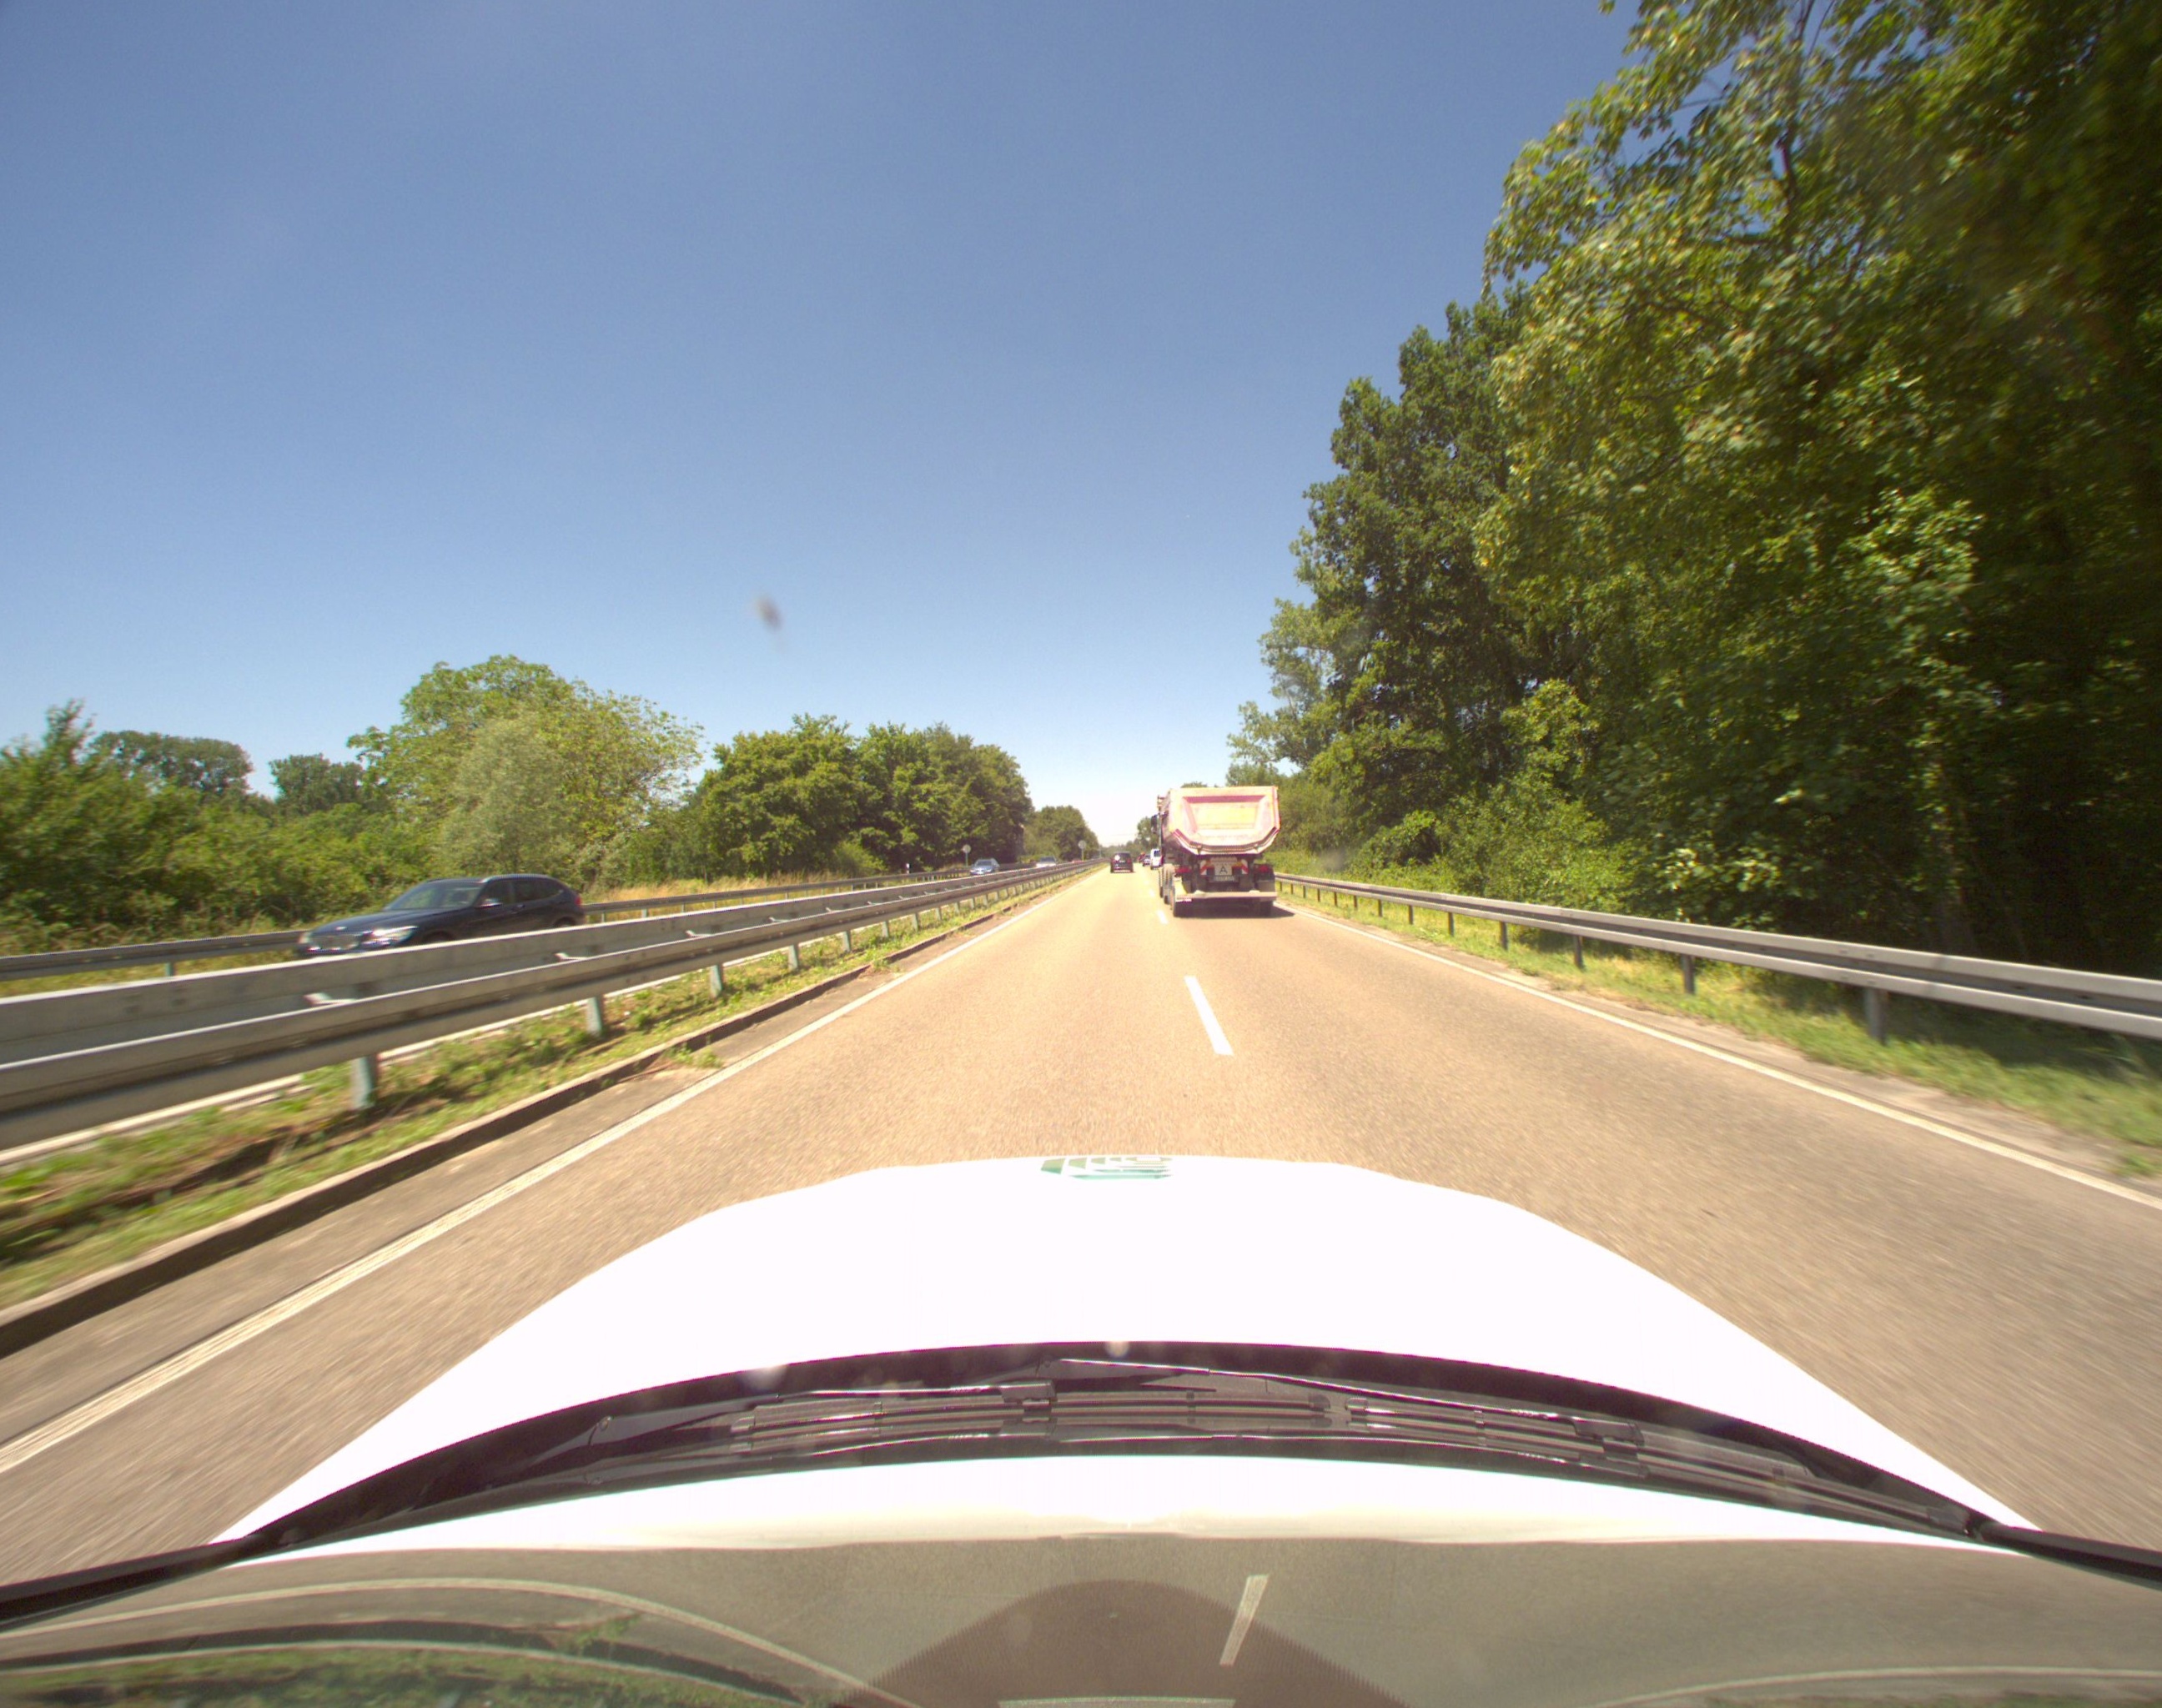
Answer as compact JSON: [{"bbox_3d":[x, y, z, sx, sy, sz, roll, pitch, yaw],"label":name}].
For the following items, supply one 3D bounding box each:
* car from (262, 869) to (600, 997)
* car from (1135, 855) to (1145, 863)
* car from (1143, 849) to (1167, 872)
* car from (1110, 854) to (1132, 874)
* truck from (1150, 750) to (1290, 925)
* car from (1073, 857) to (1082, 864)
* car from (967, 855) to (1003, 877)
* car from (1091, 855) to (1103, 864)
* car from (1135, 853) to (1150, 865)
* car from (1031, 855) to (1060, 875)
[{"bbox_3d":[-10.445,1.150,13.658,1.771,1.620,4.510,-3,0,4],"label":"car"},{"bbox_3d":[11.091,1.020,153.770,1.597,1.420,3.523,-3,0,1],"label":"car"},{"bbox_3d":[7.090,0.590,78.730,1.986,2.077,4.002,-3,0,2],"label":"car"},{"bbox_3d":[3.384,0.876,68.793,1.850,1.671,4.002,-1,-2,3],"label":"car"},{"bbox_3d":[3.677,-0.387,24.674,2.709,3.930,12.379,-1,0,3],"label":"truck"},{"bbox_3d":[-0.720,1.305,170.843,1.790,1.391,4.003,-3,0,3],"label":"car"},{"bbox_3d":[-7.396,0.877,62.968,1.804,1.543,4.933,-3,0,4],"label":"car"},{"bbox_3d":[3.422,1.124,173.439,1.984,1.794,4.753,-3,0,4],"label":"car"},{"bbox_3d":[7.504,0.638,100.007,1.597,1.420,3.523,-3,0,1],"label":"car"},{"bbox_3d":[-3.252,0.993,76.187,1.984,1.632,4.560,-3,0,6],"label":"car"}]
